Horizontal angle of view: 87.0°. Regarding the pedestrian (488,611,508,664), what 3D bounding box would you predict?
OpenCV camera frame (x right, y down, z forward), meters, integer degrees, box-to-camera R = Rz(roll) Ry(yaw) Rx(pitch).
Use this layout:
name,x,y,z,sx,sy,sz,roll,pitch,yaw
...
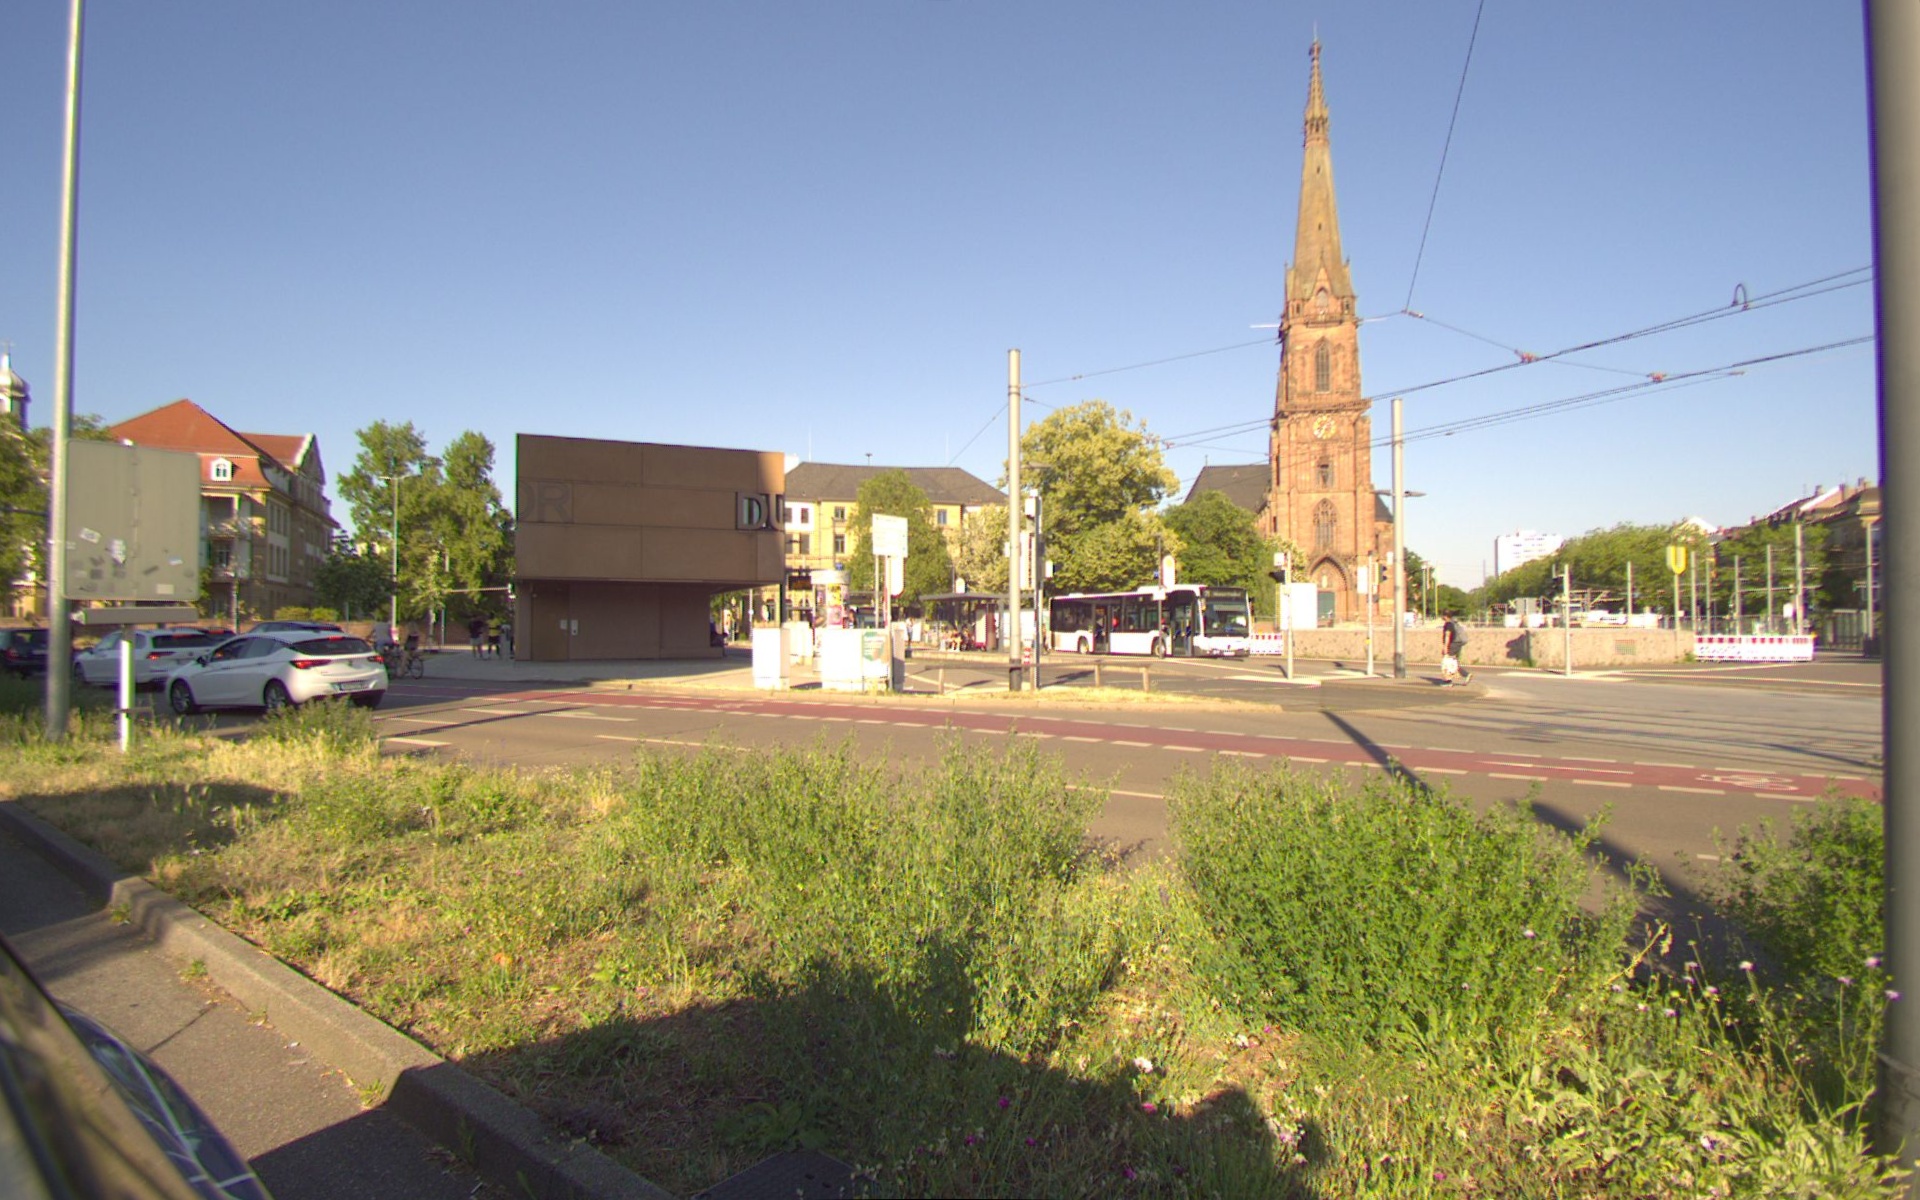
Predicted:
name,x,y,z,sx,sy,sz,roll,pitch,yaw
pedestrian,-17.756,1.436,38.871,0.645,2.029,0.470,-1,0,-29

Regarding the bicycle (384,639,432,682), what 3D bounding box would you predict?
name,x,y,z,sx,sy,sz,roll,pitch,yaw
bicycle,-15.910,1.738,29.174,1.388,1.201,0.461,-1,0,24

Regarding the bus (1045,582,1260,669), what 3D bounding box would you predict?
name,x,y,z,sx,sy,sz,roll,pitch,yaw
bus,7.704,0.968,43.365,2.655,3.174,12.216,-1,0,-23

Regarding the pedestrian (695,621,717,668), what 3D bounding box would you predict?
name,x,y,z,sx,sy,sz,roll,pitch,yaw
pedestrian,-11.347,1.989,45.246,0.762,2.029,0.778,-1,0,-2

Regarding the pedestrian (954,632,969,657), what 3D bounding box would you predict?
name,x,y,z,sx,sy,sz,roll,pitch,yaw
pedestrian,0.062,2.193,49.914,0.531,1.196,0.660,-1,0,-21

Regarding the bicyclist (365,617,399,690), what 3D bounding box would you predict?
name,x,y,z,sx,sy,sz,roll,pitch,yaw
bicyclist,-16.333,1.495,28.589,0.562,2.029,0.605,-1,-2,25

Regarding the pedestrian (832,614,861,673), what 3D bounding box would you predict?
name,x,y,z,sx,sy,sz,roll,pitch,yaw
pedestrian,-3.505,1.325,31.185,0.702,1.771,0.584,-1,0,-30

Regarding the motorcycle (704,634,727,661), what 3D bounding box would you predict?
name,x,y,z,sx,sy,sz,roll,pitch,yaw
motorcycle,-10.163,1.958,42.074,0.935,1.075,0.331,-1,0,-11

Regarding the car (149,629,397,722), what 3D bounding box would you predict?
name,x,y,z,sx,sy,sz,roll,pitch,yaw
car,-12.356,1.289,18.203,4.162,1.471,1.743,-1,0,23

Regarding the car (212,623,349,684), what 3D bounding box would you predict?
name,x,y,z,sx,sy,sz,roll,pitch,yaw
car,-20.254,1.541,30.132,4.172,1.703,1.738,-1,-2,30

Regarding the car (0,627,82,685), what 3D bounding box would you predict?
name,x,y,z,sx,sy,sz,roll,pitch,yaw
car,-26.825,1.534,28.559,4.169,1.471,1.740,-1,0,28

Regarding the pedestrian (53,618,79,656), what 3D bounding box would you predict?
name,x,y,z,sx,sy,sz,roll,pitch,yaw
pedestrian,-45.793,1.896,51.847,0.787,1.911,0.612,0,-2,-9

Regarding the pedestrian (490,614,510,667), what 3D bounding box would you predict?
name,x,y,z,sx,sy,sz,roll,pitch,yaw
pedestrian,-17.991,1.579,39.561,0.645,2.029,0.470,-1,0,-29

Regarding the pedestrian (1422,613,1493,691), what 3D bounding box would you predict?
name,x,y,z,sx,sy,sz,roll,pitch,yaw
pedestrian,11.307,1.164,23.021,1.025,1.696,1.007,-1,0,-25

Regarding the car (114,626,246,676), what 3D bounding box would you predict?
name,x,y,z,sx,sy,sz,roll,pitch,yaw
car,-25.219,1.626,32.698,4.375,1.503,1.831,-1,-4,30

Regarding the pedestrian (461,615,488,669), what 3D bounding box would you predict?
name,x,y,z,sx,sy,sz,roll,pitch,yaw
pedestrian,-18.487,1.586,38.522,0.765,2.029,0.775,-1,0,-37

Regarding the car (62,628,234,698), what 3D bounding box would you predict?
name,x,y,z,sx,sy,sz,roll,pitch,yaw
car,-19.751,1.459,24.570,4.375,1.503,1.831,-1,0,30

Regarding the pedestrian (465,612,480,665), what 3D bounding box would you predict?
name,x,y,z,sx,sy,sz,roll,pitch,yaw
pedestrian,-19.106,1.504,39.649,0.460,2.029,0.658,-1,0,-32

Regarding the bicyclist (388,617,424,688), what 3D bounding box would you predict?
name,x,y,z,sx,sy,sz,roll,pitch,yaw
bicyclist,-15.969,1.510,29.188,0.705,2.029,0.605,-1,-2,25

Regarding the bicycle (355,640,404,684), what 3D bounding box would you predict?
name,x,y,z,sx,sy,sz,roll,pitch,yaw
bicycle,-16.462,1.745,28.690,1.388,1.201,0.461,-1,0,24
